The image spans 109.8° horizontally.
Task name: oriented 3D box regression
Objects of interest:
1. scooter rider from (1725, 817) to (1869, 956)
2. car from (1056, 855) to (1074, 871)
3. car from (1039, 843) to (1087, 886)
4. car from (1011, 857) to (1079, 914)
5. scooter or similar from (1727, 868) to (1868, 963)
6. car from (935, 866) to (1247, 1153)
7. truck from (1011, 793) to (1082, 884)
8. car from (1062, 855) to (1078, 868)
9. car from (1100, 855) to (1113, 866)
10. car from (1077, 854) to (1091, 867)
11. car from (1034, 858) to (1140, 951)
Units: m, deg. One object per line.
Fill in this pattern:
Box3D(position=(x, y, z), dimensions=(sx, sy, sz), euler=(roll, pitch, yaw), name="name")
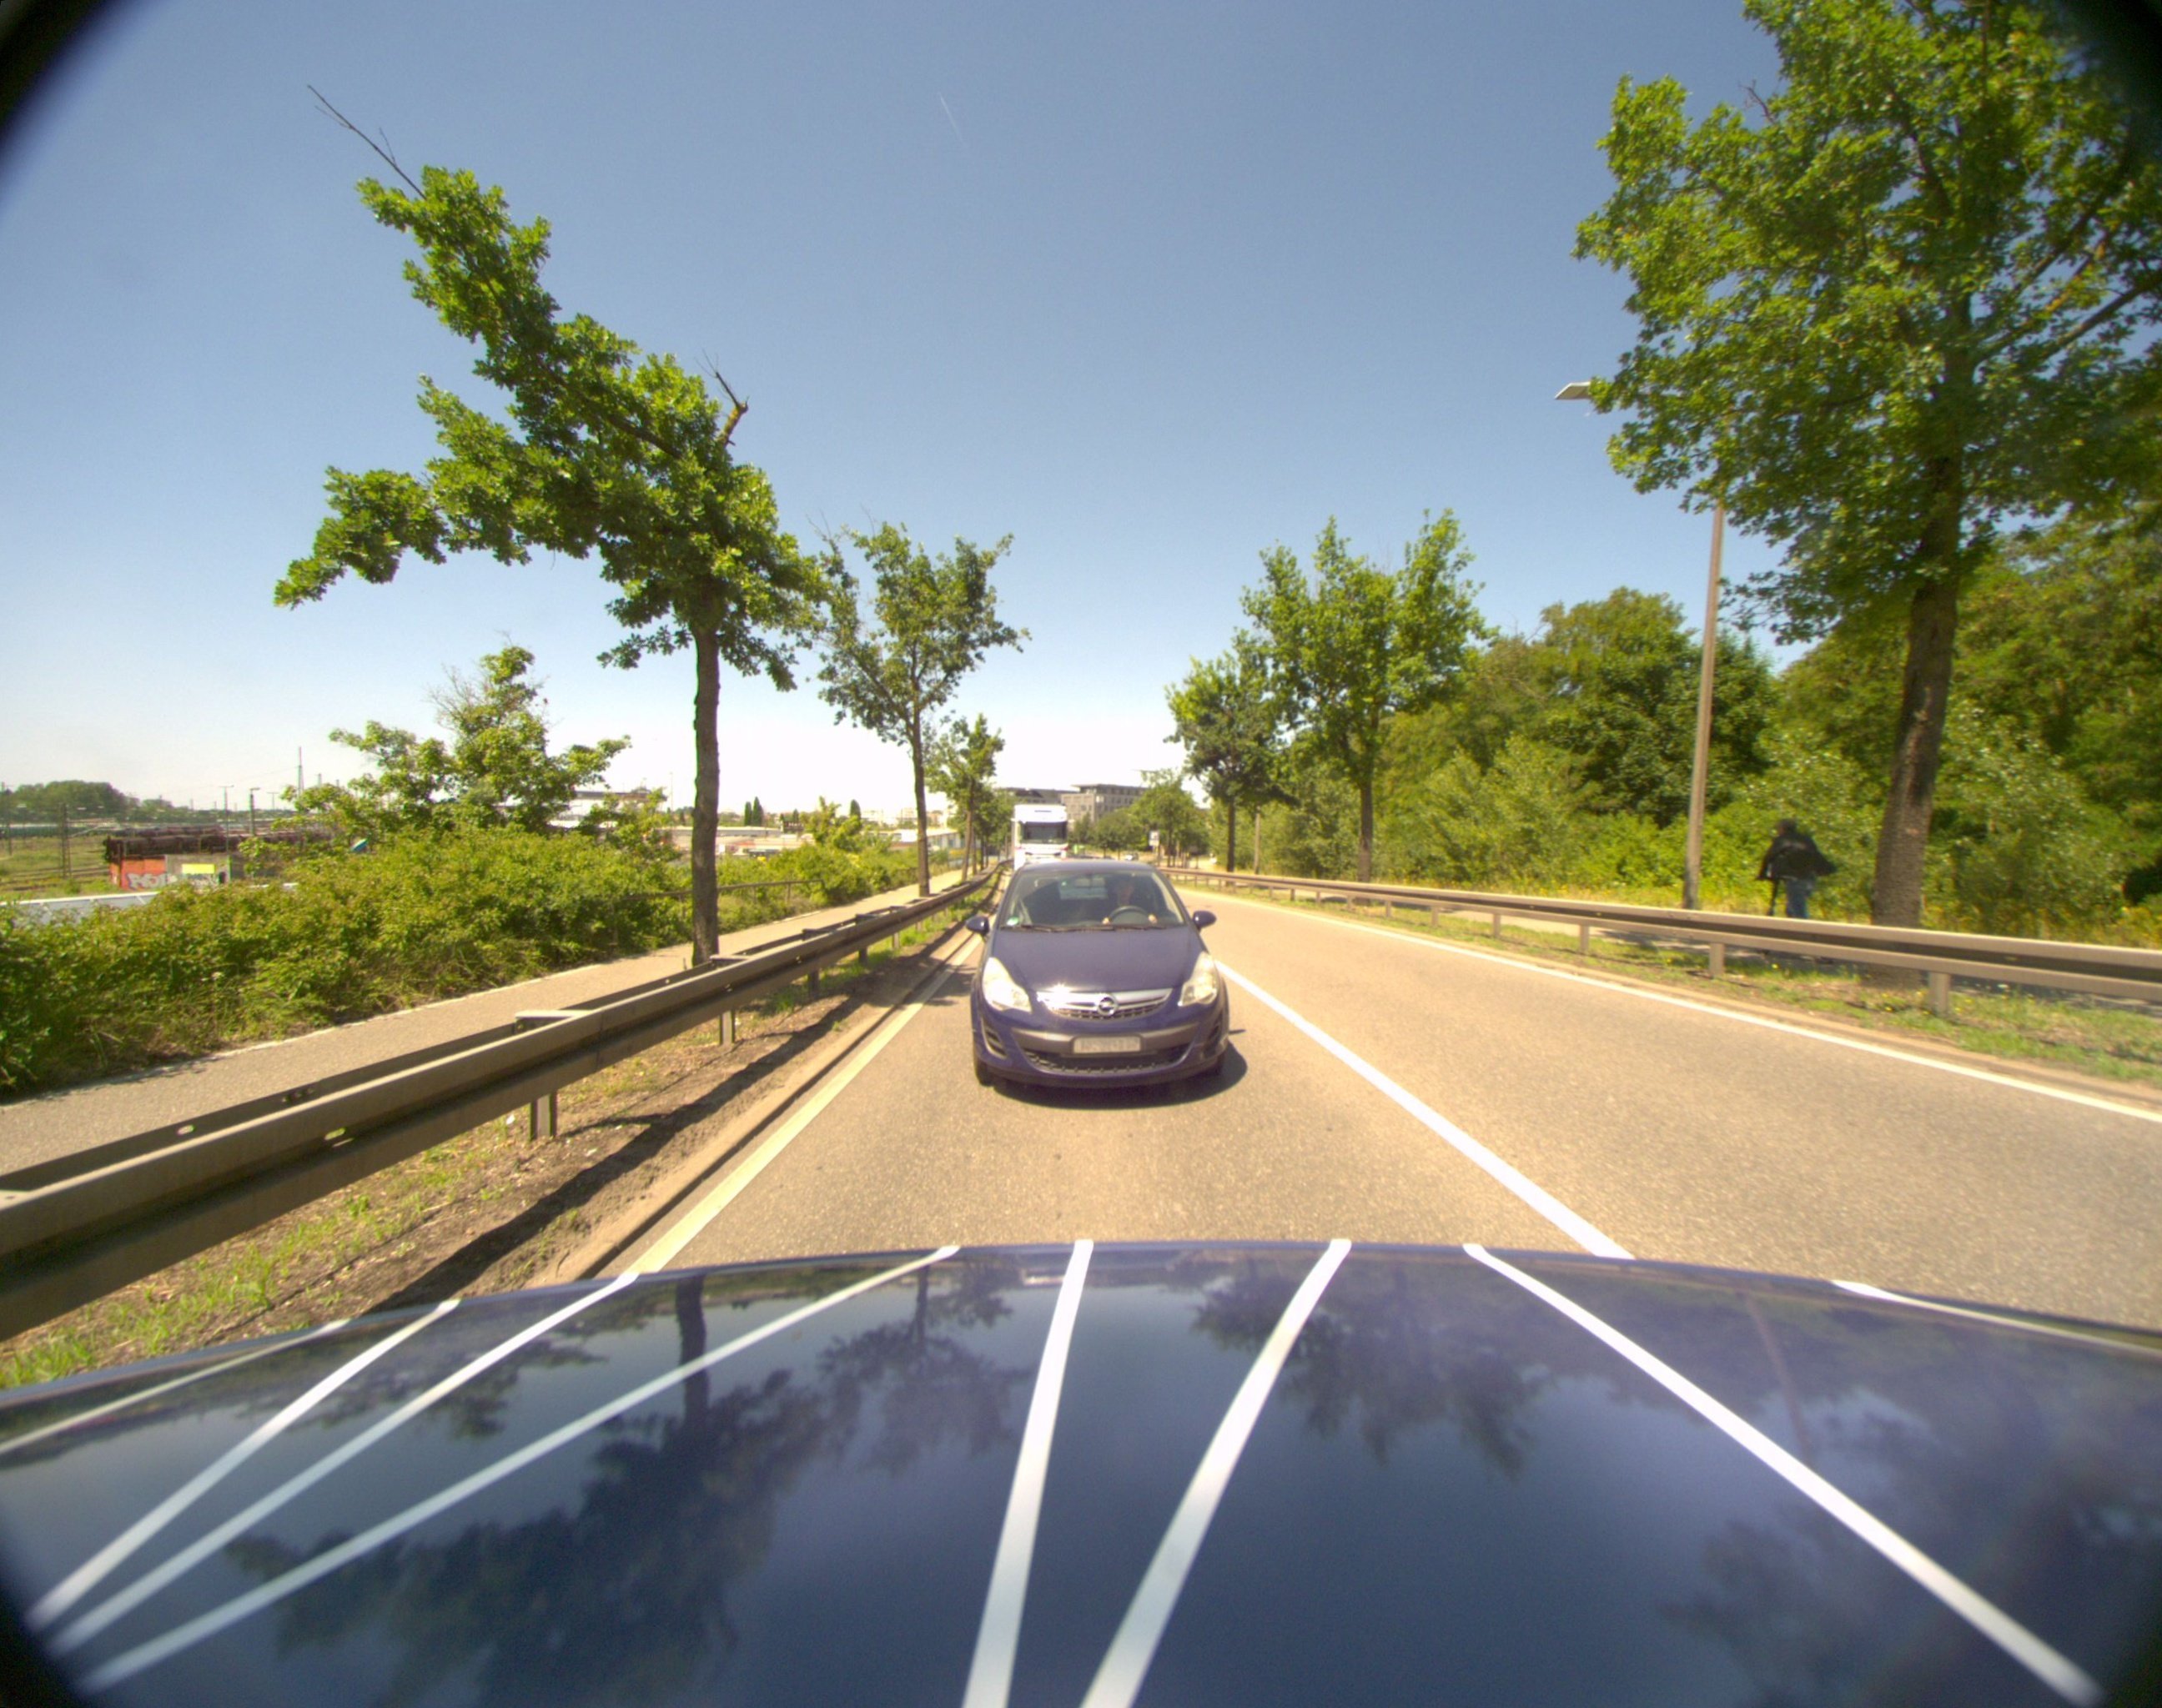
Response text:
Box3D(position=(9.055, 0.387, 9.661), dimensions=(0.779, 1.648, 1.121), euler=(-2, 1, 2), name="scooter rider")
Box3D(position=(-2.157, 1.241, 103.688), dimensions=(1.779, 2.002, 4.002), euler=(-2, 1, 7), name="car")
Box3D(position=(-0.795, 0.383, 31.100), dimensions=(1.780, 1.569, 3.998), euler=(-2, 1, -3), name="car")
Box3D(position=(-1.133, 0.856, 22.469), dimensions=(1.781, 1.398, 3.998), euler=(-2, 1, -5), name="car")
Box3D(position=(9.061, 0.753, 9.661), dimensions=(0.779, 1.085, 1.095), euler=(-2, 1, 3), name="scooter or similar")
Box3D(position=(0.007, 0.908, 6.206), dimensions=(1.720, 1.455, 3.836), euler=(-2, 1, -2), name="car")
Box3D(position=(-2.389, -0.810, 43.857), dimensions=(3.072, 4.146, 16.900), euler=(-2, 1, -6), name="truck")
Box3D(position=(-1.630, 1.107, 113.131), dimensions=(1.779, 1.657, 4.002), euler=(-2, 1, 7), name="car")
Box3D(position=(4.868, 1.182, 146.843), dimensions=(1.778, 2.002, 4.003), euler=(-2, 1, 12), name="car")
Box3D(position=(0.567, 1.064, 128.028), dimensions=(1.779, 2.002, 4.002), euler=(-2, 1, 7), name="car")
Box3D(position=(0.064, 0.878, 15.107), dimensions=(1.780, 1.498, 3.895), euler=(-2, 1, -1), name="car")
